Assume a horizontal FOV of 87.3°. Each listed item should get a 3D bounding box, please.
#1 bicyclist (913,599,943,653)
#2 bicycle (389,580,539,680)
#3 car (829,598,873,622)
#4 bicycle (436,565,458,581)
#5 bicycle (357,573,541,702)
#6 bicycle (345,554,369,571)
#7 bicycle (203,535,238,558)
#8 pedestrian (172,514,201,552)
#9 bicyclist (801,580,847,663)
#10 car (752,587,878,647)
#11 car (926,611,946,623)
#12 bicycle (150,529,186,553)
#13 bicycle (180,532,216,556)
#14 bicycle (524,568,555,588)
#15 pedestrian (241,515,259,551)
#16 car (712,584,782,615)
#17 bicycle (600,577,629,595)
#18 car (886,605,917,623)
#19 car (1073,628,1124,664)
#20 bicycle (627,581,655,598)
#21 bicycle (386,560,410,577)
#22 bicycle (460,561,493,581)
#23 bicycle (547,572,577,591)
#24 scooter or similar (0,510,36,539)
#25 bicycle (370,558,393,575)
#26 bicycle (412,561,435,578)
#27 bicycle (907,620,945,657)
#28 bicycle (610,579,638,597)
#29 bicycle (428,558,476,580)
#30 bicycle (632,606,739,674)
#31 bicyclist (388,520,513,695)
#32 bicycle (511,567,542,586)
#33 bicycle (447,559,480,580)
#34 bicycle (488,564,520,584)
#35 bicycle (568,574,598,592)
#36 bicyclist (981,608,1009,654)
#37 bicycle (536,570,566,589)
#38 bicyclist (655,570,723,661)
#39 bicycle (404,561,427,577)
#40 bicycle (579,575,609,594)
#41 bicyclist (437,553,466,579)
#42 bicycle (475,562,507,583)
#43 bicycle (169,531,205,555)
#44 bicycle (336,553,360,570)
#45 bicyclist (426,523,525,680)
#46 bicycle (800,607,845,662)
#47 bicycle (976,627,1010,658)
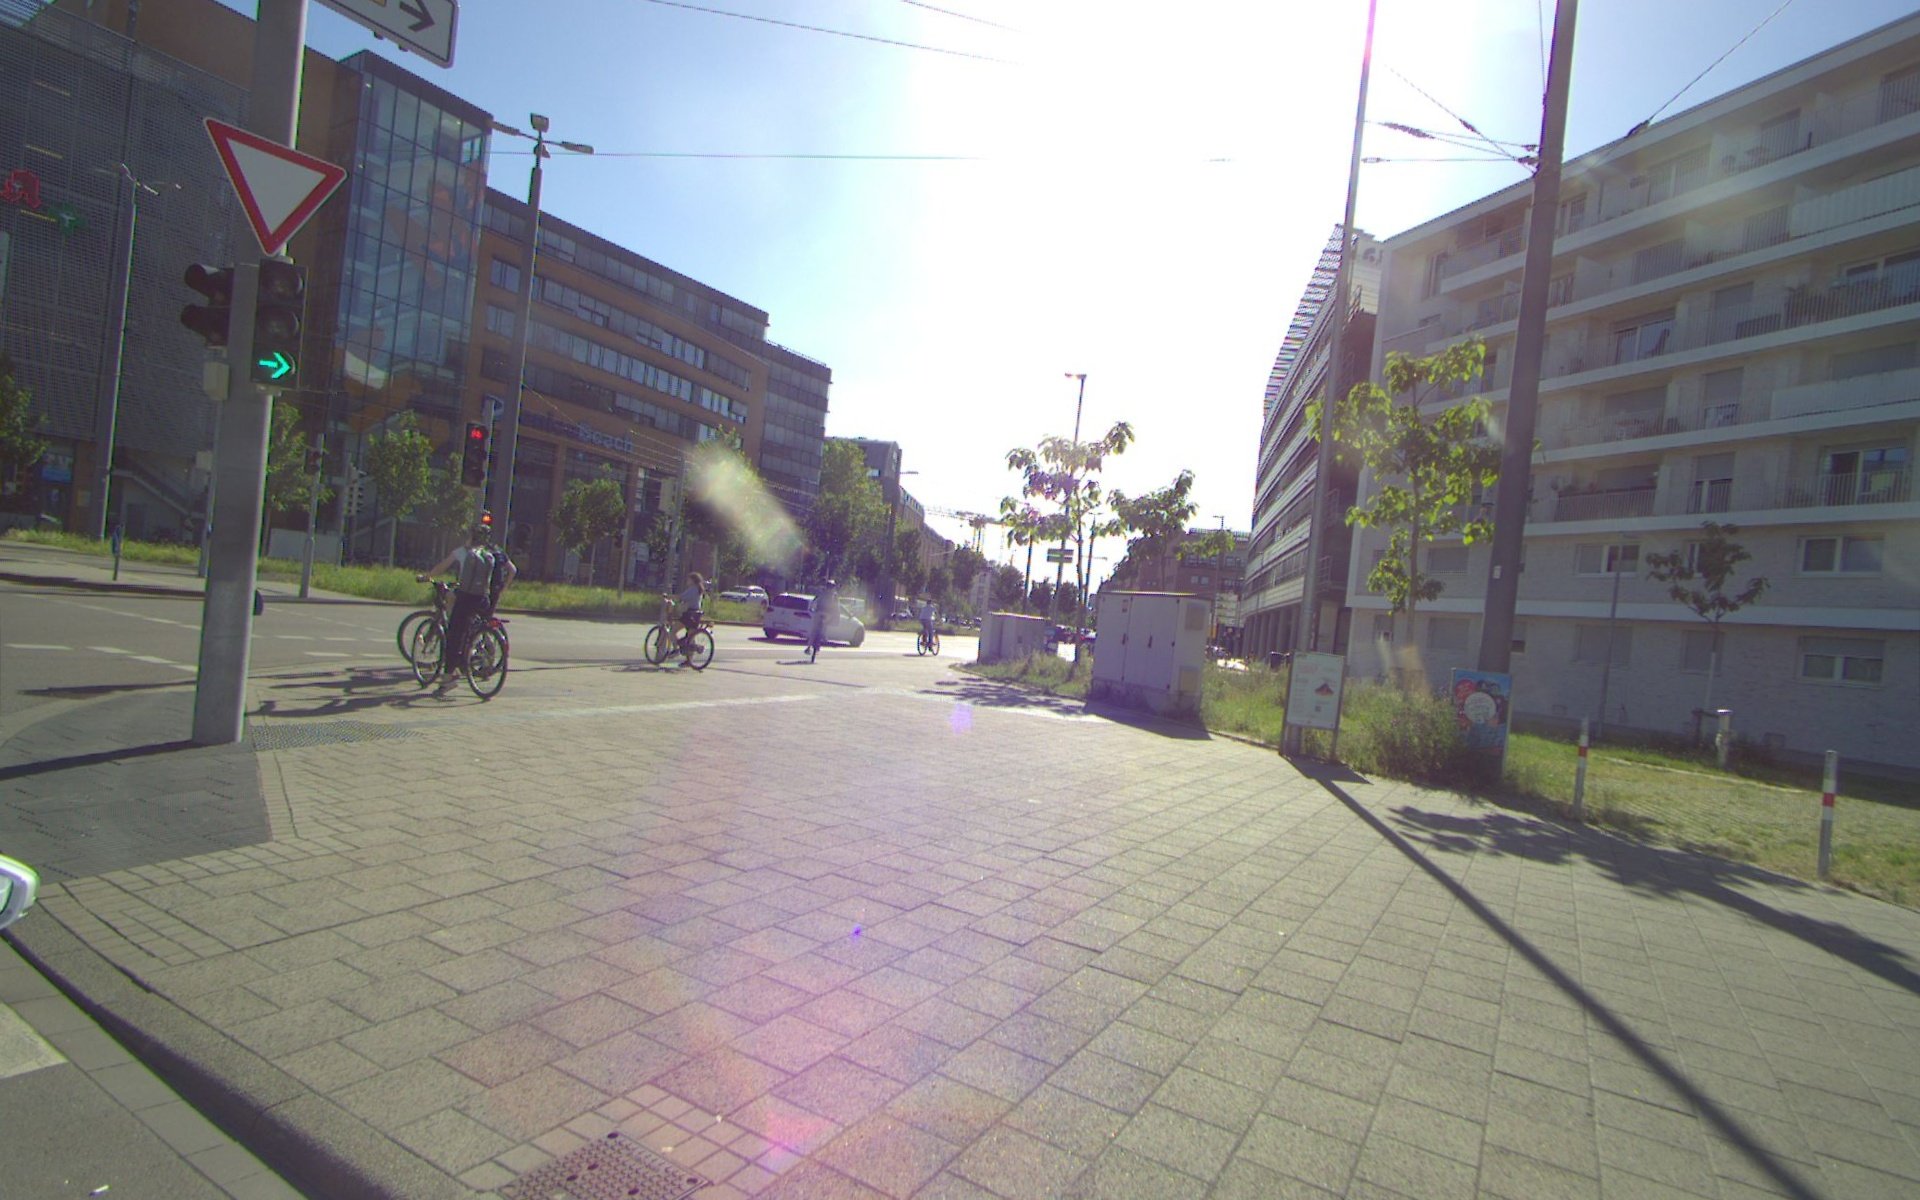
[{"bbox_3d":[-1.040,0.864,33.288,0.608,1.690,1.020,8,0,8],"label":"bicyclist"},{"bbox_3d":[-6.145,0.354,12.436,1.862,1.051,0.605,5,0,27],"label":"bicycle"},{"bbox_3d":[-10.971,1.037,102.082,2.186,2.038,5.257,6,-1,20],"label":"car"},{"bbox_3d":[-32.869,-1.754,64.447,1.425,0.829,0.445,7,0,27],"label":"bicycle"},{"bbox_3d":[-5.285,0.360,10.358,1.978,1.119,0.695,5,0,32],"label":"bicycle"},{"bbox_3d":[-35.579,-2.220,59.337,1.425,0.829,0.445,7,0,27],"label":"bicycle"},{"bbox_3d":[-38.481,-2.769,52.336,2.142,0.966,0.492,7,0,27],"label":"bicycle"},{"bbox_3d":[-37.853,-3.285,49.227,0.586,1.706,0.778,6,0,18],"label":"pedestrian"},{"bbox_3d":[-3.057,0.471,22.538,0.796,1.714,1.049,8,1,-9],"label":"bicyclist"},{"bbox_3d":[-4.429,0.582,31.437,1.746,1.420,4.292,9,0,24],"label":"car"},{"bbox_3d":[-3.204,2.237,133.821,1.962,1.350,4.793,7,-1,5],"label":"car"},{"bbox_3d":[-39.515,-2.942,50.182,2.142,0.966,0.492,7,0,27],"label":"bicycle"},{"bbox_3d":[-39.004,-2.868,51.468,2.142,0.966,0.492,7,0,27],"label":"bicycle"},{"bbox_3d":[-30.647,-1.601,73.257,2.142,1.137,0.752,7,0,27],"label":"bicycle"},{"bbox_3d":[-39.789,-3.733,56.359,0.369,1.937,0.539,6,-1,39],"label":"pedestrian"},{"bbox_3d":[-14.927,-0.005,71.003,1.781,1.672,5.544,6,-1,24],"label":"car"},{"bbox_3d":[-27.281,-1.081,79.379,2.142,1.137,0.752,7,0,27],"label":"bicycle"},{"bbox_3d":[-6.974,1.681,120.076,1.963,1.701,4.540,6,-1,19],"label":"car"},{"bbox_3d":[6.981,2.310,50.266,1.694,1.542,4.401,7,-1,17],"label":"car"},{"bbox_3d":[-25.894,-0.842,81.761,2.142,1.137,0.752,7,0,27],"label":"bicycle"},{"bbox_3d":[-34.268,-1.917,61.340,1.425,0.829,0.445,7,0,27],"label":"bicycle"},{"bbox_3d":[-33.297,-1.995,69.278,2.142,1.137,0.752,7,0,27],"label":"bicycle"},{"bbox_3d":[-29.680,-1.403,74.954,2.142,1.137,0.752,7,0,27],"label":"bicycle"},{"bbox_3d":[-43.002,-3.438,45.817,0.272,1.115,1.203,6,-2,34],"label":"scooter or similar"},{"bbox_3d":[-34.777,-2.038,60.479,1.425,0.829,0.445,7,0,27],"label":"bicycle"},{"bbox_3d":[-33.487,-1.901,62.791,1.425,0.829,0.445,7,0,27],"label":"bicycle"},{"bbox_3d":[-1.099,1.267,33.425,0.676,1.082,2.699,8,0,8],"label":"bicycle"},{"bbox_3d":[-26.764,-0.960,80.168,2.142,1.137,0.752,7,0,27],"label":"bicycle"},{"bbox_3d":[-30.963,-1.870,61.346,0.588,1.022,2.563,6,-1,33],"label":"bicycle"},{"bbox_3d":[-4.560,0.654,16.686,1.679,0.966,0.695,5,0,32],"label":"bicycle"},{"bbox_3d":[-5.234,0.070,10.329,0.987,1.675,0.594,6,1,32],"label":"bicyclist"},{"bbox_3d":[-31.179,-1.689,72.402,2.142,1.137,0.752,7,0,27],"label":"bicycle"},{"bbox_3d":[-33.663,-2.094,68.234,2.142,1.137,0.752,7,0,27],"label":"bicycle"},{"bbox_3d":[-32.140,-1.846,70.939,2.142,1.137,0.752,7,0,27],"label":"bicycle"},{"bbox_3d":[-28.642,-1.289,76.445,2.142,1.137,0.752,7,0,27],"label":"bicycle"},{"bbox_3d":[1.430,1.274,41.009,0.639,1.774,1.044,6,1,26],"label":"bicyclist"},{"bbox_3d":[-30.147,-1.497,74.164,2.142,1.137,0.752,7,0,27],"label":"bicycle"},{"bbox_3d":[-4.495,0.264,16.660,0.814,1.421,0.588,5,0,32],"label":"bicyclist"},{"bbox_3d":[-33.748,-1.939,62.323,1.425,0.829,0.445,7,0,27],"label":"bicycle"},{"bbox_3d":[-28.053,-1.195,77.108,2.142,1.137,0.752,7,0,27],"label":"bicycle"},{"bbox_3d":[-30.977,-2.078,61.284,0.584,1.424,1.309,6,0,33],"label":"bicyclist"},{"bbox_3d":[-32.733,-1.915,70.224,2.142,1.137,0.752,7,0,27],"label":"bicycle"},{"bbox_3d":[-39.149,-2.894,50.927,2.142,0.966,0.492,7,0,27],"label":"bicycle"},{"bbox_3d":[-35.828,-2.264,58.871,1.425,0.829,0.445,7,0,27],"label":"bicycle"},{"bbox_3d":[-5.950,0.016,12.349,0.890,1.821,0.549,5,1,26],"label":"bicyclist"},{"bbox_3d":[-3.099,0.754,22.546,0.814,1.049,1.888,8,0,-10],"label":"bicycle"},{"bbox_3d":[1.352,1.725,40.989,0.639,1.123,1.758,6,-2,25],"label":"bicycle"}]
